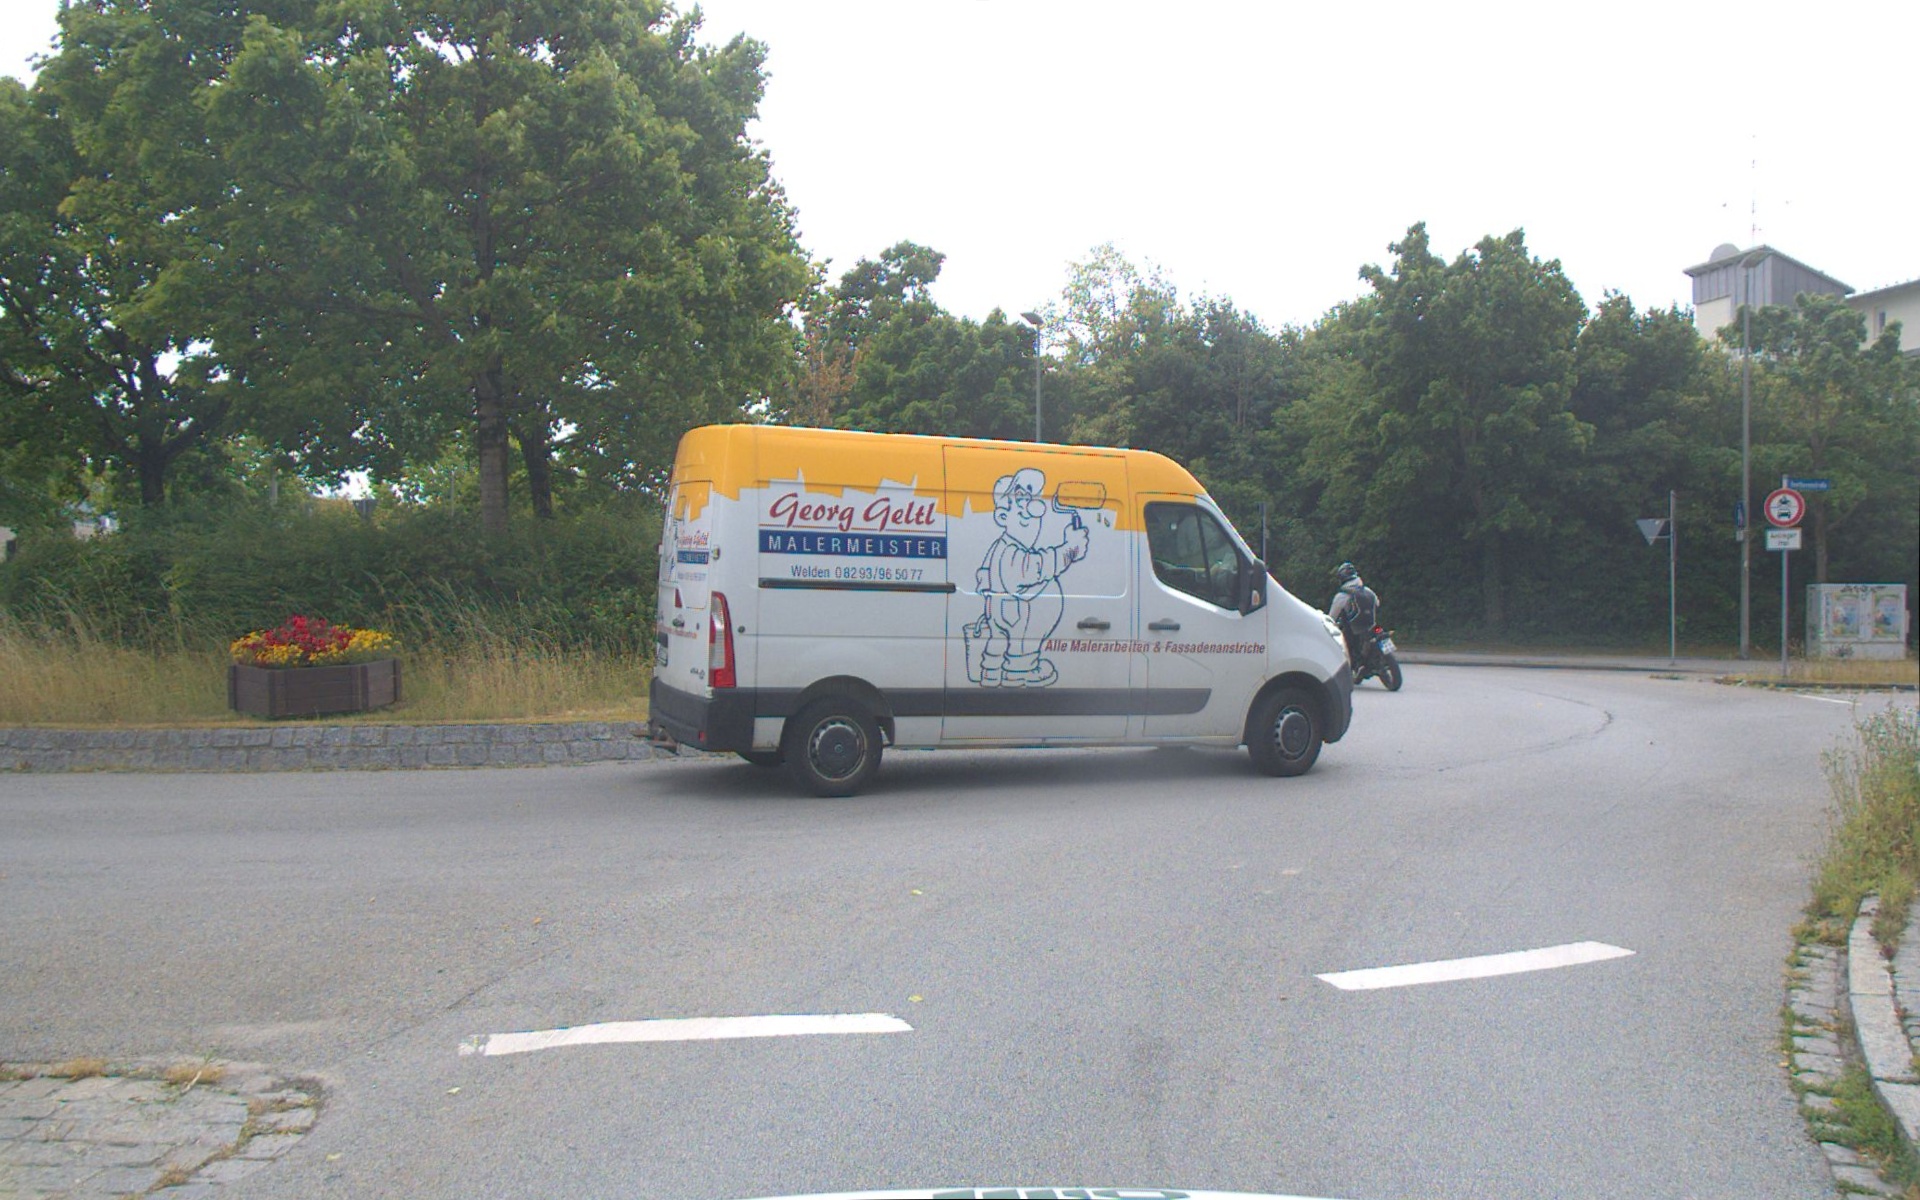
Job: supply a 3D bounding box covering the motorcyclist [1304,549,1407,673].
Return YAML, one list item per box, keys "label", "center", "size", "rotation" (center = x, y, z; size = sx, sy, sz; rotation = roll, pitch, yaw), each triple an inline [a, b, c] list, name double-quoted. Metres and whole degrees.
- label: "motorcyclist"
  center: [5.420, 0.140, 22.712]
  size: [0.850, 1.652, 1.182]
  rotation: [0, 0, -24]

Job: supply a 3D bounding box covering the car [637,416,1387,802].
- label: "car"
  center: [0.387, 0.027, 12.674]
  size: [5.347, 2.494, 2.156]
  rotation: [0, 2, -22]

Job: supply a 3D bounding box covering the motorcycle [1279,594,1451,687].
- label: "motorcycle"
  center: [5.475, 0.519, 22.570]
  size: [0.885, 1.178, 2.600]
  rotation: [0, 0, -24]
